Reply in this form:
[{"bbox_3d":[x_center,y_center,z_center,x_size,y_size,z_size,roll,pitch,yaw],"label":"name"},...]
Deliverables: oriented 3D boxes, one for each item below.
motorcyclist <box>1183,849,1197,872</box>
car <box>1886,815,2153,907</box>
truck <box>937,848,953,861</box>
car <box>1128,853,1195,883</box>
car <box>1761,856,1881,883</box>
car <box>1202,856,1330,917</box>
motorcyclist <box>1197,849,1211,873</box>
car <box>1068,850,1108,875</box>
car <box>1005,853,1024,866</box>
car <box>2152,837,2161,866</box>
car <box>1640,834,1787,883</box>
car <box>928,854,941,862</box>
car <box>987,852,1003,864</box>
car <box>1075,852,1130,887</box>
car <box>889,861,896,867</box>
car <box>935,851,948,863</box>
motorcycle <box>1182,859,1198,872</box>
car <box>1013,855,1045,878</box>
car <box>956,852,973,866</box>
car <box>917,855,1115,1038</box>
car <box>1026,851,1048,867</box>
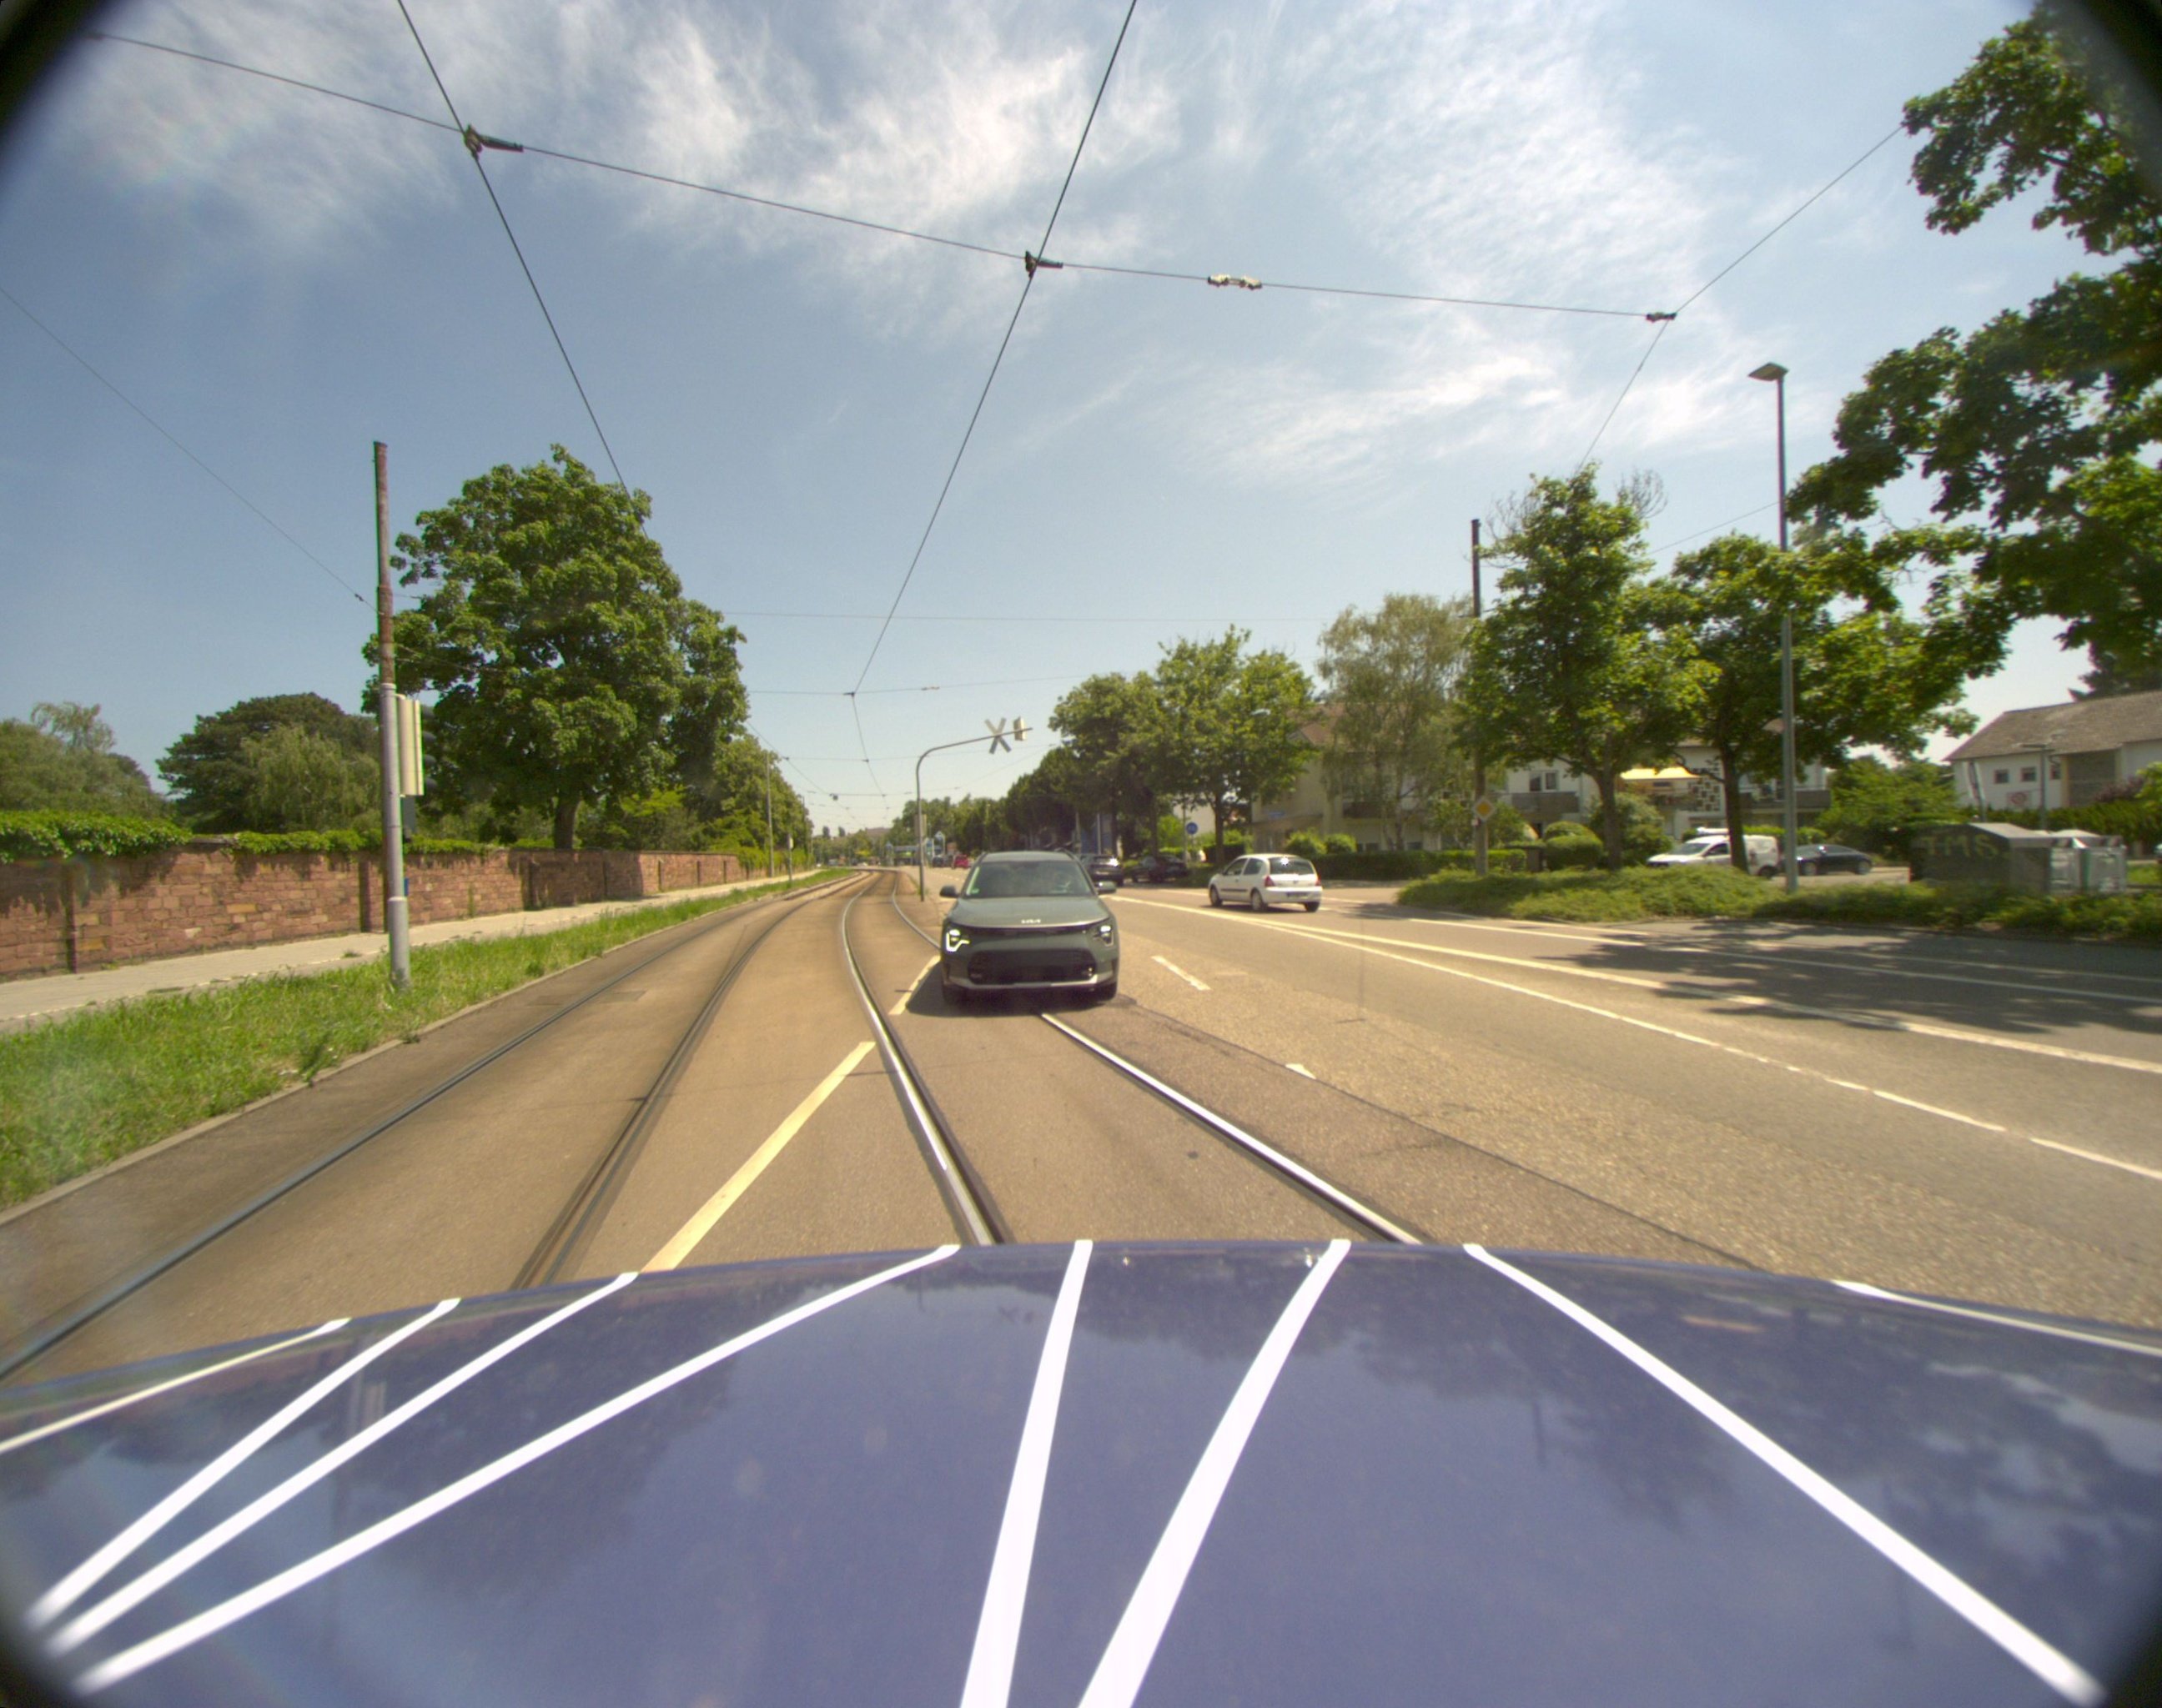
[{"bbox_3d":[7.257,0.427,50.747,0.588,1.494,0.724,-4,1,-12],"label":"motorcyclist"},{"bbox_3d":[21.050,0.120,17.108,4.464,1.846,2.059,-1,0,-13],"label":"car"},{"bbox_3d":[-27.897,0.114,156.090,2.138,2.565,4.854,-1,1,-22],"label":"truck"},{"bbox_3d":[4.293,0.745,41.299,1.901,1.448,4.803,-3,0,-16],"label":"car"},{"bbox_3d":[31.504,0.641,32.392,3.747,0.986,1.545,-2,0,-4],"label":"car"},{"bbox_3d":[4.609,0.757,19.478,1.654,1.368,3.806,-1,0,-13],"label":"car"},{"bbox_3d":[7.807,0.439,48.174,0.588,1.494,0.661,-4,1,-12],"label":"motorcyclist"},{"bbox_3d":[0.475,0.622,57.405,1.978,1.679,4.682,-3,0,-12],"label":"car"},{"bbox_3d":[-8.277,0.693,94.017,1.658,1.487,3.644,-1,0,-15],"label":"car"},{"bbox_3d":[51.031,-0.143,34.380,3.908,1.321,1.544,-1,0,-11],"label":"car"},{"bbox_3d":[24.129,0.166,29.090,4.233,1.697,1.741,-1,0,-2],"label":"car"},{"bbox_3d":[-32.199,0.881,166.964,1.868,1.487,3.464,-6,1,-22],"label":"car"},{"bbox_3d":[-12.499,0.603,110.328,1.658,1.487,4.077,-5,1,-15],"label":"car"},{"bbox_3d":[0.997,0.722,37.049,1.744,1.566,3.708,-1,0,-13],"label":"car"},{"bbox_3d":[-55.480,2.973,223.737,1.867,1.487,3.466,-5,1,-15],"label":"car"},{"bbox_3d":[-23.796,0.475,129.437,1.925,1.899,4.565,-1,0,-14],"label":"car"},{"bbox_3d":[7.270,0.760,50.824,0.528,0.821,1.369,-4,1,-12],"label":"motorcycle"},{"bbox_3d":[-3.955,0.924,57.438,1.744,1.647,4.062,-1,0,-13],"label":"car"},{"bbox_3d":[-16.035,0.653,104.413,1.906,1.914,4.813,0,0,-15],"label":"car"},{"bbox_3d":[-0.514,0.860,9.187,1.758,1.574,4.427,-3,0,2],"label":"car"},{"bbox_3d":[-4.570,0.548,78.748,1.507,1.487,3.278,-6,1,-15],"label":"car"}]
